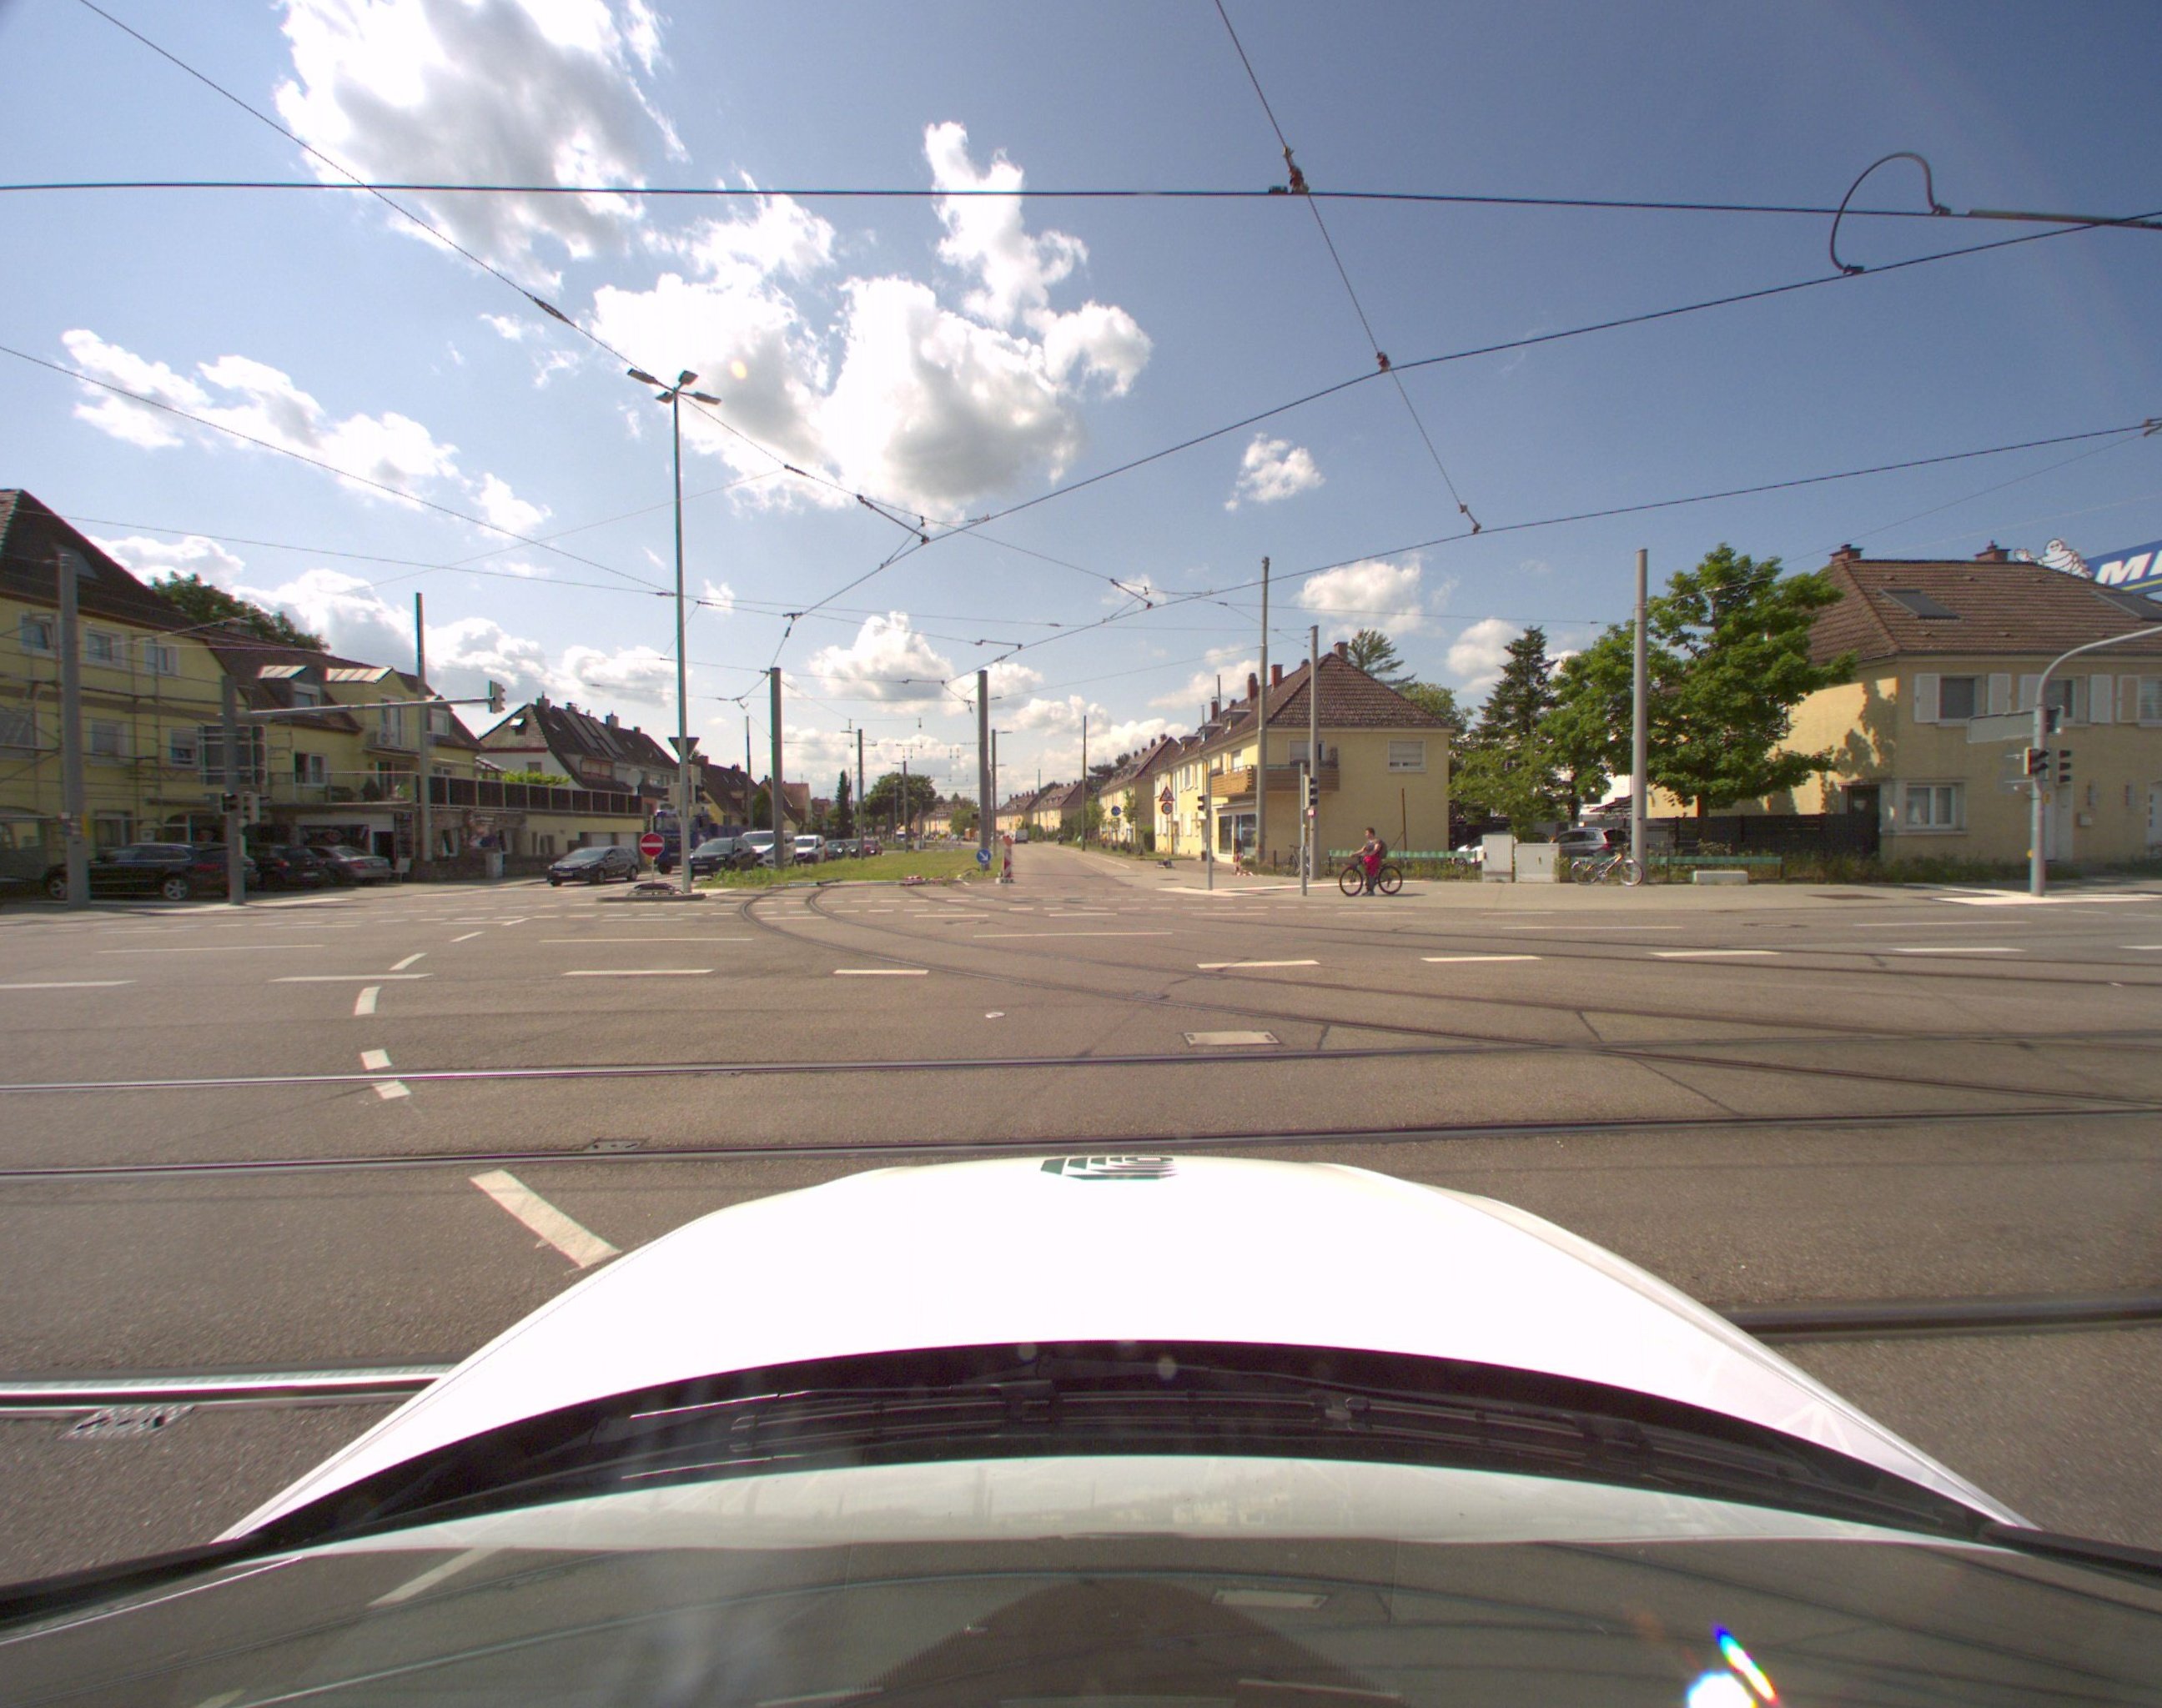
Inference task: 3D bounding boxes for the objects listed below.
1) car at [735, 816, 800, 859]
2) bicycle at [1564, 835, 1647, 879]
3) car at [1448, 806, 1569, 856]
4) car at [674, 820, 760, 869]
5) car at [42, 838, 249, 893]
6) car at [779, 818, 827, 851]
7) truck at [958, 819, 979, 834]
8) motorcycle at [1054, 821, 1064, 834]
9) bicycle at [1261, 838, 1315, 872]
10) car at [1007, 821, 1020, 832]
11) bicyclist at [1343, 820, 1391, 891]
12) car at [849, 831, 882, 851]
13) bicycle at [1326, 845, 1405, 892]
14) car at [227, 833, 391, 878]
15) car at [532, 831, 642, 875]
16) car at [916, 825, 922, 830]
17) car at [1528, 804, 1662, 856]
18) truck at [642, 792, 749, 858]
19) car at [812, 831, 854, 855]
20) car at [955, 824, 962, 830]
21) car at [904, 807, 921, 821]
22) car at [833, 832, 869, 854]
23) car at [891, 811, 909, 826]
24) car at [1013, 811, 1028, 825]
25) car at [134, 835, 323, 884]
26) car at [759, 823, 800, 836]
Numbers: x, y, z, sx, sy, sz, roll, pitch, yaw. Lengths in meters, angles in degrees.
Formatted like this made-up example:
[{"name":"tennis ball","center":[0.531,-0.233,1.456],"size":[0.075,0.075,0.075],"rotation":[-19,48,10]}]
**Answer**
[{"name":"car","center":[-15.215,-0.865,39.792],"size":[1.812,1.921,4.738],"rotation":[-1,3,-7]},{"name":"bicycle","center":[14.119,0.070,21.939],"size":[1.785,1.104,0.707],"rotation":[2,4,40]},{"name":"car","center":[15.024,-0.818,28.872],"size":[1.821,1.620,3.989],"rotation":[-2,2,-8]},{"name":"car","center":[-14.802,-0.465,33.379],"size":[1.784,1.720,4.434],"rotation":[-2,4,-5]},{"name":"car","center":[-26.985,0.333,23.595],"size":[4.130,1.493,1.177],"rotation":[0,3,-7]},{"name":"car","center":[-16.194,-1.212,47.670],"size":[1.731,1.781,4.396],"rotation":[-2,3,-7]},{"name":"truck","center":[-26.508,-6.457,191.454],"size":[2.651,3.493,9.370],"rotation":[-2,3,-22]},{"name":"motorcycle","center":[-2.837,-3.437,105.799],"size":[1.065,1.635,2.079],"rotation":[-1,3,-7]},{"name":"bicycle","center":[7.366,0.018,29.129],"size":[0.596,1.096,2.259],"rotation":[-2,3,-24]},{"name":"car","center":[-11.665,-4.770,140.480],"size":[1.569,1.897,3.774],"rotation":[-2,3,-12]},{"name":"bicyclist","center":[7.407,0.011,21.087],"size":[0.962,1.774,0.714],"rotation":[-2,3,-25]},{"name":"car","center":[-17.933,-1.124,68.055],"size":[1.841,1.493,4.848],"rotation":[-2,3,-5]},{"name":"bicycle","center":[7.372,0.354,21.079],"size":[2.038,1.101,0.709],"rotation":[-2,3,-26]},{"name":"car","center":[-27.364,0.044,28.983],"size":[4.130,1.493,1.432],"rotation":[0,3,-7]},{"name":"car","center":[-19.244,-0.109,31.963],"size":[1.824,1.486,4.329],"rotation":[-1,3,-4]},{"name":"car","center":[-48.188,-7.767,241.922],"size":[1.172,1.426,2.643],"rotation":[-3,3,-27]},{"name":"car","center":[17.821,-0.843,28.476],"size":[1.821,1.620,3.989],"rotation":[-2,2,-8]},{"name":"truck","center":[-20.321,-1.596,43.519],"size":[2.766,3.187,7.567],"rotation":[-1,3,-7]},{"name":"car","center":[-16.532,-0.746,54.429],"size":[1.913,1.418,3.992],"rotation":[-2,3,-7]},{"name":"car","center":[-30.661,-6.868,203.539],"size":[1.263,1.426,2.646],"rotation":[-2,3,-22]},{"name":"car","center":[-29.303,-6.945,141.520],"size":[2.412,2.369,4.854],"rotation":[-2,4,-16]},{"name":"car","center":[-17.264,-0.880,61.285],"size":[1.841,1.413,4.906],"rotation":[-2,3,-7]},{"name":"car","center":[-28.817,-5.598,129.387],"size":[2.412,2.337,4.854],"rotation":[-2,3,-16]},{"name":"car","center":[-9.721,-5.788,130.955],"size":[2.064,2.148,4.865],"rotation":[-2,3,-8]},{"name":"car","center":[-27.383,0.170,26.272],"size":[4.130,1.493,1.504],"rotation":[0,3,-7]},{"name":"car","center":[-35.318,-2.904,95.556],"size":[4.102,1.466,1.987],"rotation":[-1,3,-6]}]
